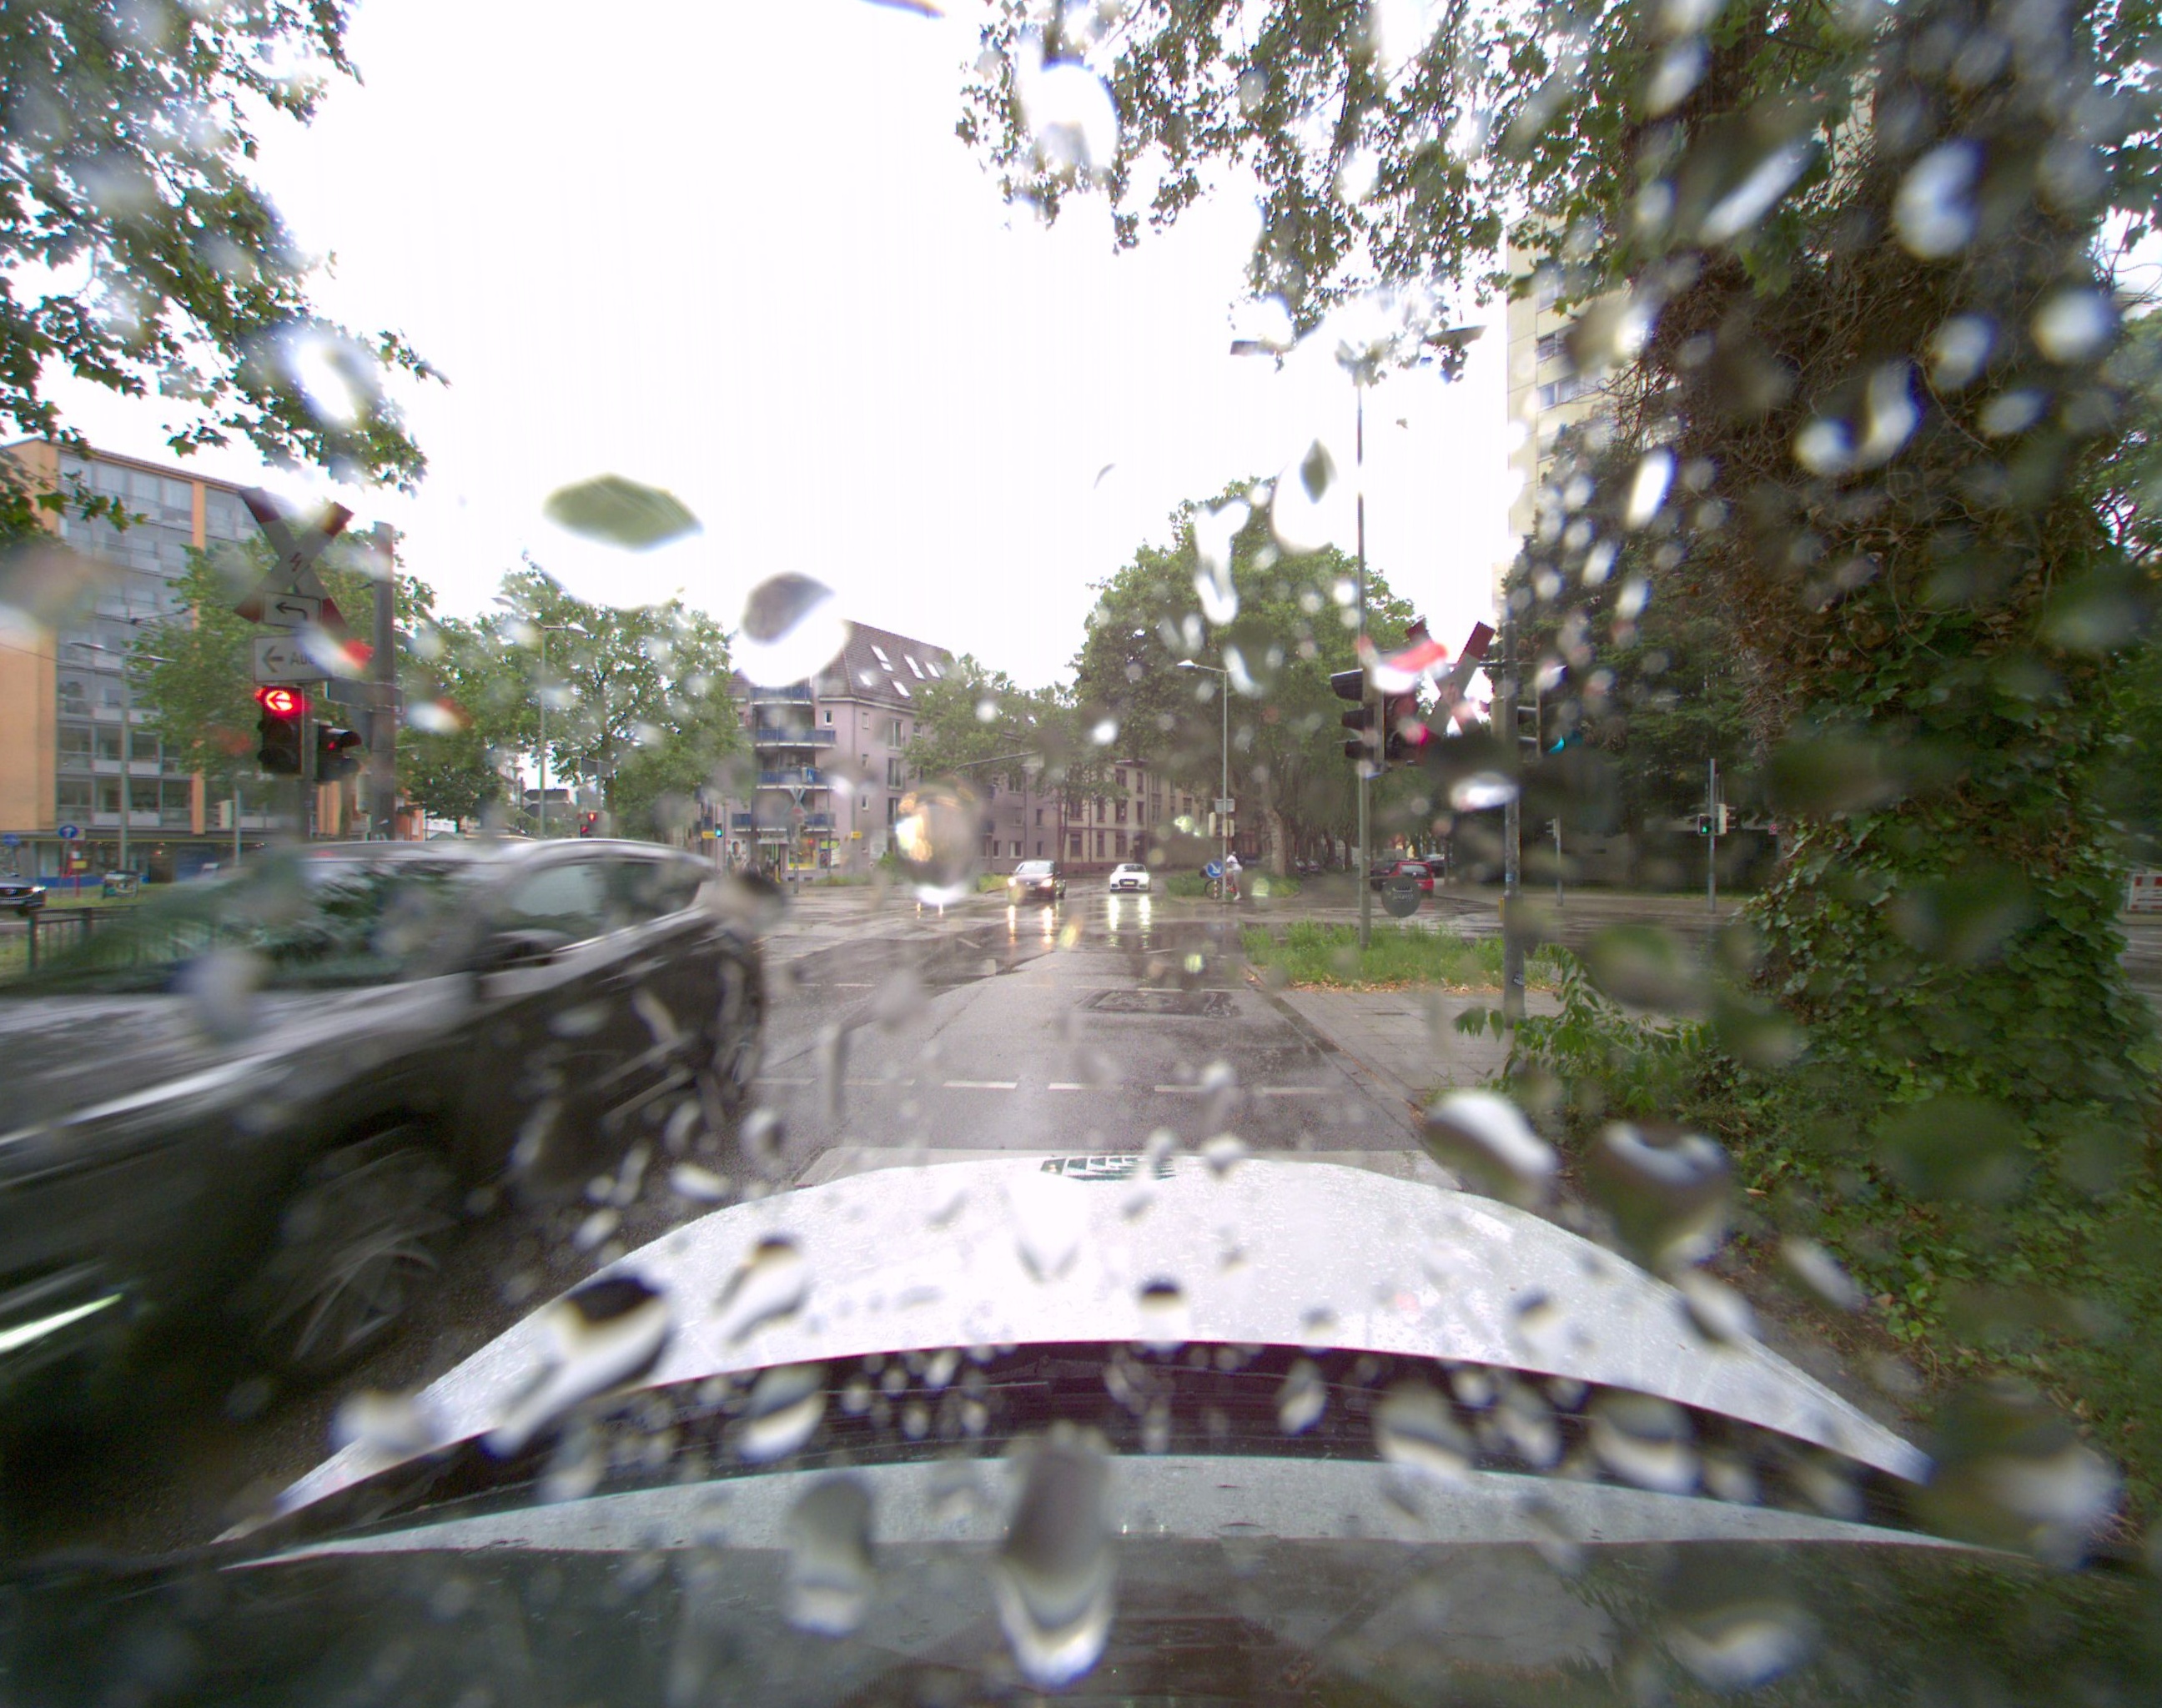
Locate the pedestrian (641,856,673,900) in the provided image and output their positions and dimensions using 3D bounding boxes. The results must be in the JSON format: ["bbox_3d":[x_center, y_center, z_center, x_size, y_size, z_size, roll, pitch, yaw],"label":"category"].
[{"bbox_3d":[-15.706,0.878,30.179,0.671,1.600,0.968,0,-1,2],"label":"pedestrian"}]

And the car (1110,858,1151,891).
[{"bbox_3d":[2.387,0.946,39.197,1.876,1.436,4.004,0,0,4],"label":"car"}]

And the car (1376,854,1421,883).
[{"bbox_3d":[15.883,0.701,40.866,1.770,1.348,3.945,0,1,16],"label":"car"}]

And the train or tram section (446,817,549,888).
[{"bbox_3d":[-36.257,0.025,51.353,2.897,3.768,17.089,0,-1,-28],"label":"train or tram section"}]

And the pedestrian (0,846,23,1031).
[{"bbox_3d":[-10.500,0.792,7.444,0.844,1.698,0.680,-3,2,-42],"label":"pedestrian"}]

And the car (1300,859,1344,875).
[{"bbox_3d":[23.120,1.256,78.258,3.958,1.547,2.008,-1,-1,14],"label":"car"}]

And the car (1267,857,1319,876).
[{"bbox_3d":[16.945,1.006,65.229,3.958,1.486,2.008,-1,-1,14],"label":"car"}]

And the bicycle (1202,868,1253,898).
[{"bbox_3d":[5.455,1.077,30.392,1.862,1.081,0.658,-1,-1,9],"label":"bicycle"}]

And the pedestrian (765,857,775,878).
[{"bbox_3d":[-20.299,0.876,53.165,0.564,1.329,0.440,0,-1,-35],"label":"pedestrian"}]

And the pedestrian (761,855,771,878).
[{"bbox_3d":[-20.824,0.822,53.837,0.560,1.457,0.444,0,-1,-11],"label":"pedestrian"}]

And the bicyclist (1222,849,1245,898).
[{"bbox_3d":[5.680,0.723,30.361,0.790,1.786,0.699,-1,-1,9],"label":"bicyclist"}]

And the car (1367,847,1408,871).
[{"bbox_3d":[38.967,0.637,103.568,2.006,2.948,4.726,0,-1,-29],"label":"car"}]

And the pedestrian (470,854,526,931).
[{"bbox_3d":[-13.881,0.890,19.422,0.962,1.766,0.944,0,-1,-28],"label":"pedestrian"}]

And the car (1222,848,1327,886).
[{"bbox_3d":[7.742,0.526,32.658,3.958,1.486,2.008,-1,-1,14],"label":"car"}]

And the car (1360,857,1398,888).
[{"bbox_3d":[17.313,1.067,47.422,1.769,1.727,4.017,-1,-1,16],"label":"car"}]

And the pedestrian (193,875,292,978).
[{"bbox_3d":[-11.582,0.971,11.272,0.657,1.349,0.706,0,0,-12],"label":"pedestrian"}]

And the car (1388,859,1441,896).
[{"bbox_3d":[14.815,0.985,36.330,1.778,1.498,4.017,0,0,16],"label":"car"}]

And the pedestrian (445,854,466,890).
[{"bbox_3d":[-37.884,1.071,49.339,0.889,2.151,0.902,0,-1,-30],"label":"pedestrian"}]

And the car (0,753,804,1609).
[{"bbox_3d":[-3.013,0.636,3.876,1.797,1.682,4.603,0,0,0],"label":"car"}]

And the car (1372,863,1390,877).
[{"bbox_3d":[33.003,1.743,89.429,1.666,1.474,3.683,-1,-1,23],"label":"car"}]

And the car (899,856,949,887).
[{"bbox_3d":[-8.019,0.870,41.833,1.745,1.512,3.839,0,0,1],"label":"car"}]

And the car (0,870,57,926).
[{"bbox_3d":[-32.283,1.262,23.584,3.994,1.530,1.615,0,1,12],"label":"car"}]

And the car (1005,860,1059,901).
[{"bbox_3d":[-1.781,0.963,30.768,1.708,1.459,3.748,0,-1,1],"label":"car"}]

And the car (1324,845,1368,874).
[{"bbox_3d":[28.303,0.588,87.215,2.040,2.948,4.742,0,-1,-18],"label":"car"}]

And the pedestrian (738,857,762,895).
[{"bbox_3d":[-13.515,0.887,33.281,0.749,1.533,0.789,0,-1,-9],"label":"pedestrian"}]

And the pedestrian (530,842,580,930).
[{"bbox_3d":[-11.359,0.665,17.608,0.790,1.855,0.677,0,0,-21],"label":"pedestrian"}]
